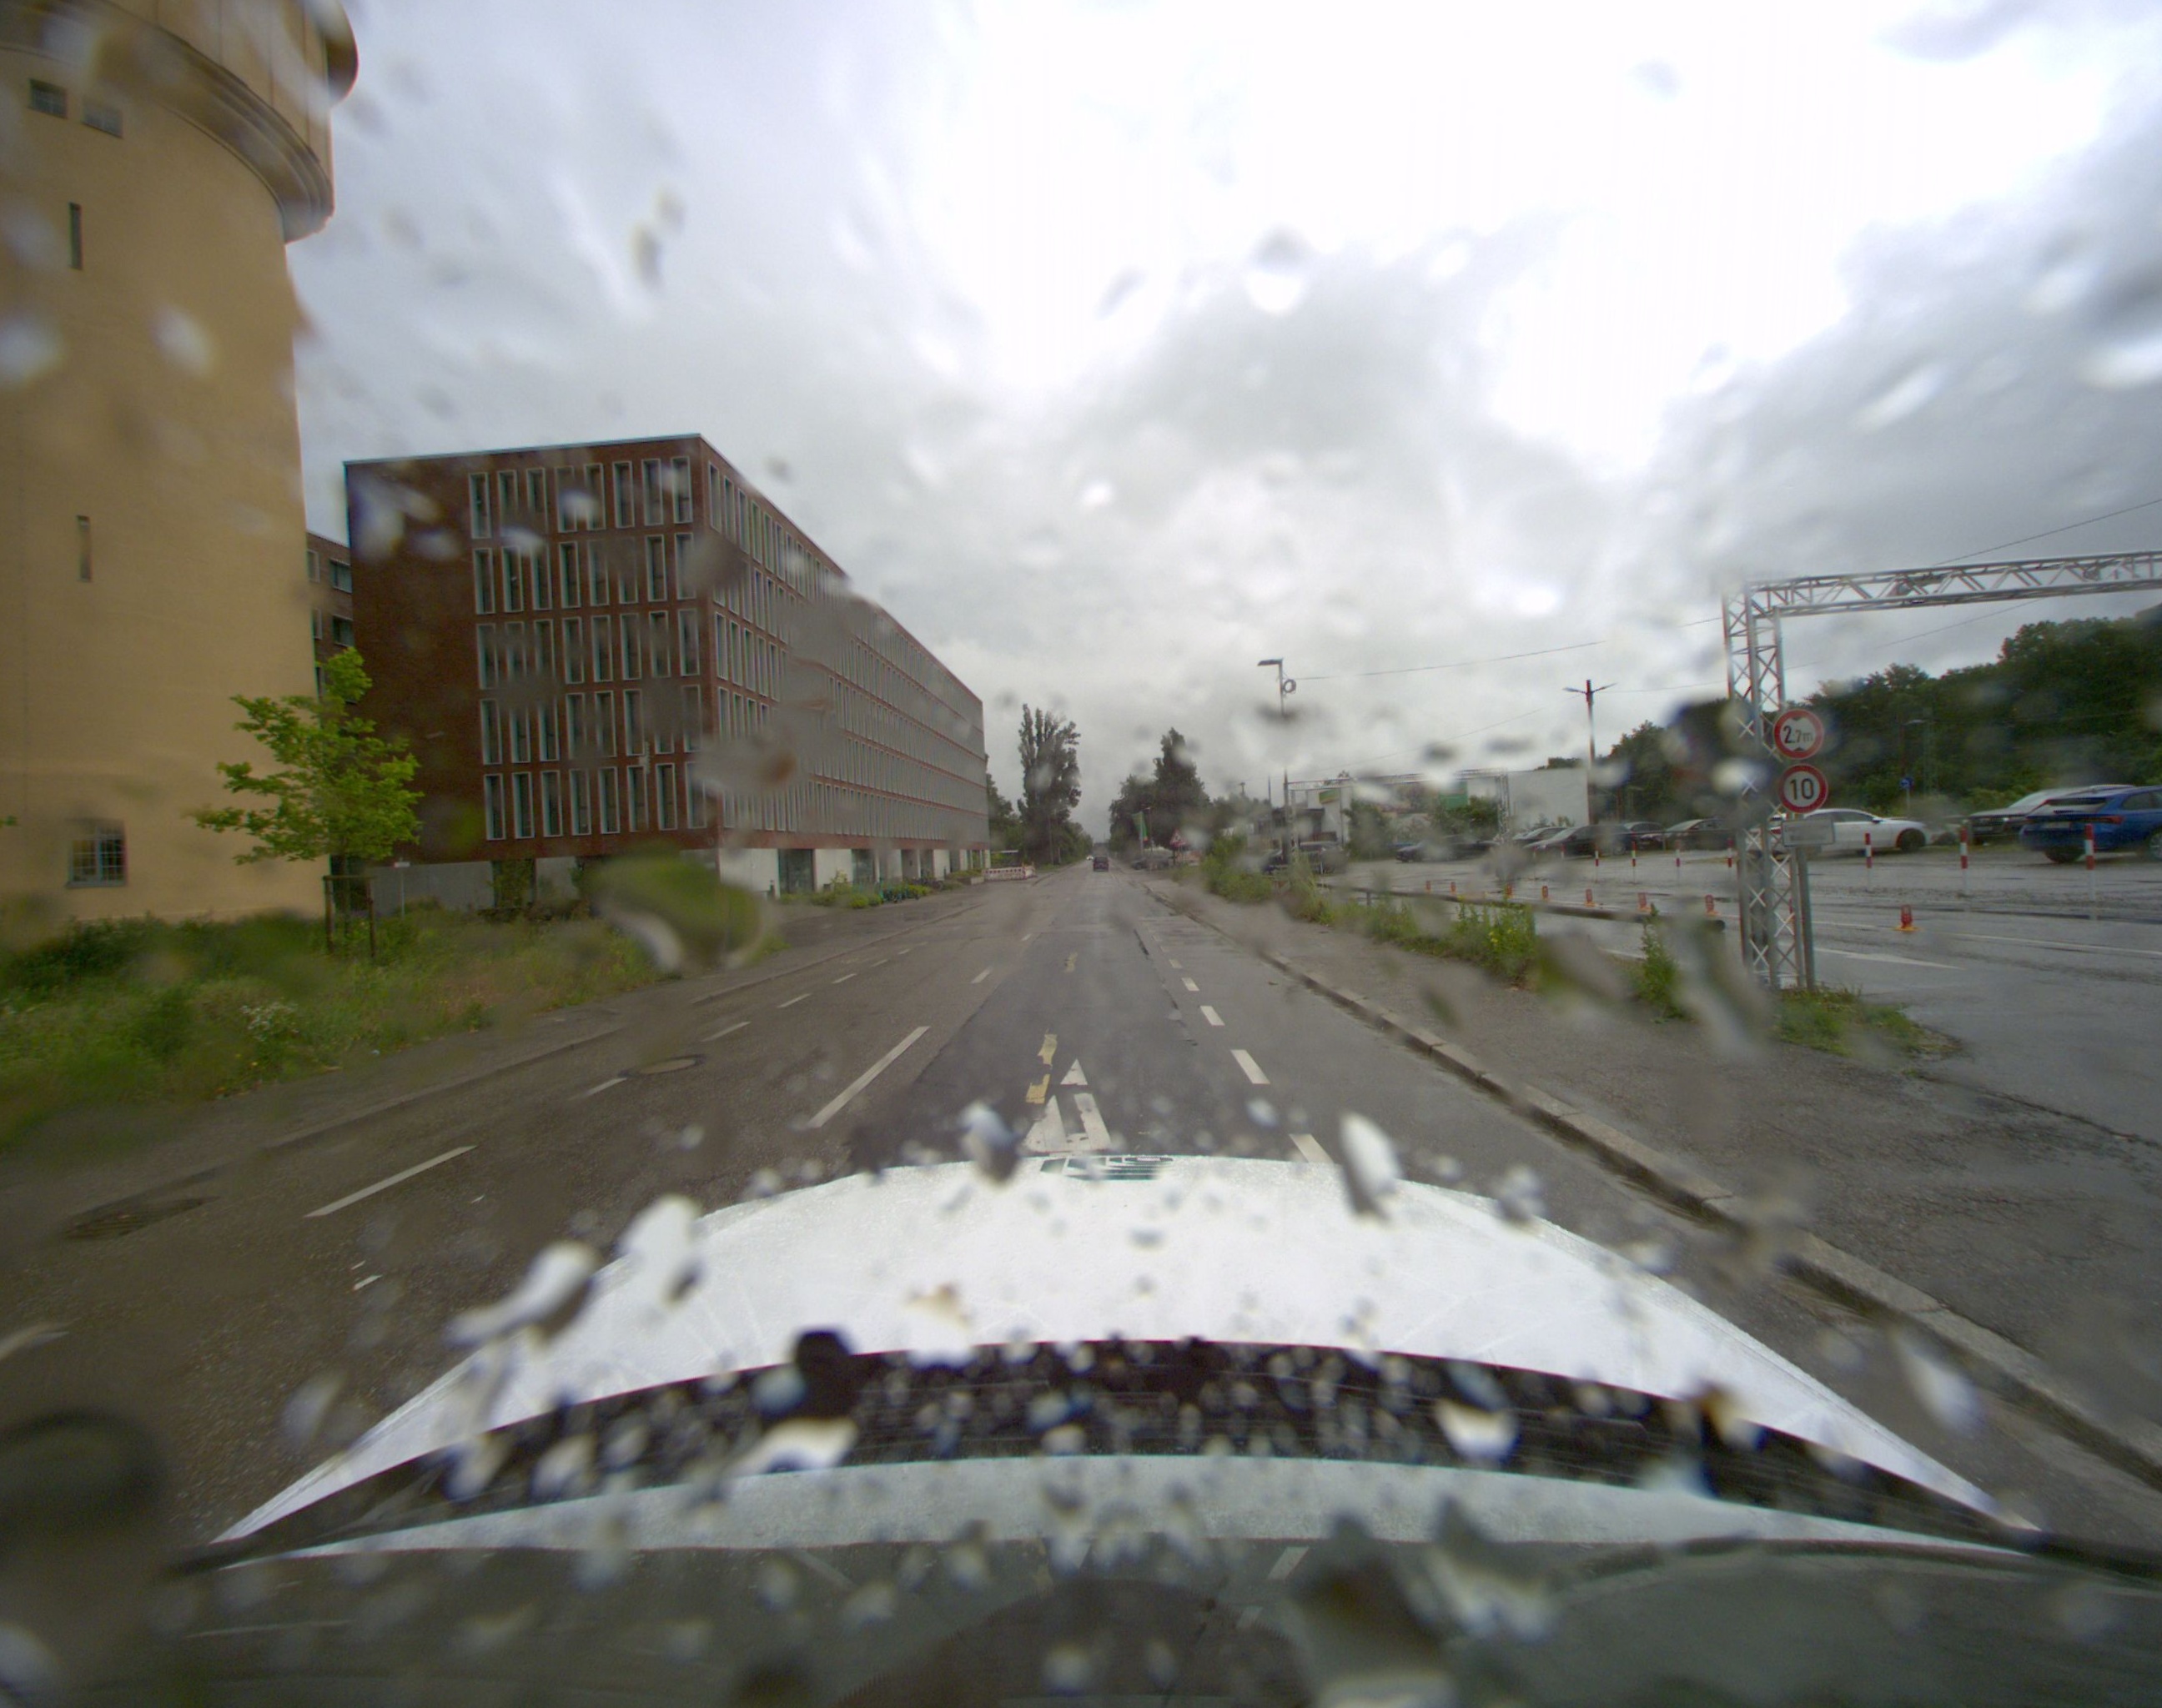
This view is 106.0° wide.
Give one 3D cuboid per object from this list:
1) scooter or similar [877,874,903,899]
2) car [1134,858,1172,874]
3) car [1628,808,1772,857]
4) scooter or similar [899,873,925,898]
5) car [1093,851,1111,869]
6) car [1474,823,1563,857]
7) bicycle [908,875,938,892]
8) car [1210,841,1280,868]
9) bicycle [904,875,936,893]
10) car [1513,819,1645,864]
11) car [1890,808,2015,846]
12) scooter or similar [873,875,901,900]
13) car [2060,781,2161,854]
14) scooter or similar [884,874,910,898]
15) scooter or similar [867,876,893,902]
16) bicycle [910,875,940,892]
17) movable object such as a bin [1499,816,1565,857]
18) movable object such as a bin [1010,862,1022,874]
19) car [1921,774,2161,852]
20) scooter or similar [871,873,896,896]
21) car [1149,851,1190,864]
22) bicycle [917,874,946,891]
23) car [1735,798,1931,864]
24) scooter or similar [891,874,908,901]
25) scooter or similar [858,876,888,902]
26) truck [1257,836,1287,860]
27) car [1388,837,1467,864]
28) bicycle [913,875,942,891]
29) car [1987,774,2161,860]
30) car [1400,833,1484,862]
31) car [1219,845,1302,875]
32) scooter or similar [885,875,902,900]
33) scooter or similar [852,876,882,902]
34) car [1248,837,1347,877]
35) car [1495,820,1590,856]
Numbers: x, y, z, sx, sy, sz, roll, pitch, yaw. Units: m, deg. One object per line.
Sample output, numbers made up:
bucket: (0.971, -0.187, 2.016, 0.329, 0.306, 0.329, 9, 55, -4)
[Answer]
scooter or similar: (-10.231, 1.734, 43.605, 0.461, 1.230, 1.215, -4, 0, 44)
car: (8.140, 1.315, 92.486, 4.118, 1.569, 1.767, -3, -1, 3)
car: (27.219, -0.934, 35.947, 4.686, 1.605, 2.044, -5, -2, 0)
scooter or similar: (-8.929, 1.676, 43.049, 1.304, 1.230, 0.470, -4, 0, 30)
car: (2.446, 0.695, 95.488, 1.987, 1.910, 4.201, -4, -1, 1)
car: (27.635, -0.869, 51.486, 4.429, 1.672, 2.042, -5, -2, -2)
bicycle: (-10.474, 1.965, 54.088, 1.853, 1.077, 0.544, -2, -1, 0)
car: (10.597, 0.049, 52.848, 4.166, 1.510, 1.891, -3, -2, 2)
bicycle: (-10.482, 1.963, 53.165, 1.942, 1.077, 0.620, -2, -1, 0)
car: (21.892, -0.523, 35.911, 4.611, 1.716, 2.016, -2, -2, -5)
car: (38.673, -1.197, 36.176, 3.984, 1.400, 1.786, -4, 0, -8)
scooter or similar: (-10.192, 1.742, 42.758, 1.317, 1.177, 0.466, -4, 0, -11)
car: (26.773, -1.017, 19.528, 4.045, 1.605, 1.928, -5, -2, 2)
scooter or similar: (-10.036, 1.744, 44.428, 0.461, 1.208, 1.215, -4, 0, 44)
scooter or similar: (-9.839, 1.716, 39.892, 1.303, 1.230, 0.511, -4, 0, 40)
bicycle: (-10.456, 1.960, 54.666, 1.853, 1.077, 0.544, -2, -1, 0)
movable object such as a bin: (35.616, -1.355, 64.427, 3.973, 2.992, 2.000, -3, 0, 0)
movable object such as a bin: (-7.628, 1.614, 95.812, 1.293, 1.308, 1.446, -3, 0, -5)
car: (26.618, -1.095, 22.467, 4.684, 1.605, 1.928, -5, -2, 2)
scooter or similar: (-11.223, 1.749, 46.321, 1.219, 1.208, 0.418, -4, 0, 8)
car: (10.813, 0.432, 99.662, 4.688, 1.462, 1.890, -3, 0, 0)
bicycle: (-10.369, 1.962, 56.432, 1.853, 1.077, 0.544, -2, -1, 0)
car: (22.159, -0.637, 24.148, 3.812, 1.484, 1.930, -6, -2, 4)
scooter or similar: (-9.027, 1.654, 40.529, 0.464, 1.230, 1.320, -4, 0, -1)
scooter or similar: (-10.457, 1.757, 40.876, 1.309, 1.177, 0.468, -4, 0, 7)
truck: (23.386, -0.684, 100.121, 2.290, 2.659, 7.426, -4, 0, 5)
car: (21.268, -0.217, 50.068, 3.971, 1.409, 2.001, -3, -2, 2)
bicycle: (-10.460, 1.969, 55.551, 1.853, 1.077, 0.544, -2, -1, 0)
car: (21.456, -0.829, 16.392, 4.027, 1.484, 1.930, -6, -2, 4)
car: (21.054, -0.363, 47.639, 3.971, 1.485, 2.001, -3, -2, 2)
car: (10.156, 0.357, 46.254, 4.279, 1.517, 1.820, -3, -2, 2)
scooter or similar: (-9.617, 1.722, 41.796, 0.468, 1.230, 1.309, -4, 0, -27)
scooter or similar: (-10.888, 1.783, 41.429, 1.309, 1.177, 0.468, -4, 0, 7)
car: (11.303, 0.173, 42.871, 4.658, 1.735, 2.131, -4, -2, 5)
car: (27.641, -0.919, 48.875, 4.429, 1.672, 2.042, -5, -2, -2)
